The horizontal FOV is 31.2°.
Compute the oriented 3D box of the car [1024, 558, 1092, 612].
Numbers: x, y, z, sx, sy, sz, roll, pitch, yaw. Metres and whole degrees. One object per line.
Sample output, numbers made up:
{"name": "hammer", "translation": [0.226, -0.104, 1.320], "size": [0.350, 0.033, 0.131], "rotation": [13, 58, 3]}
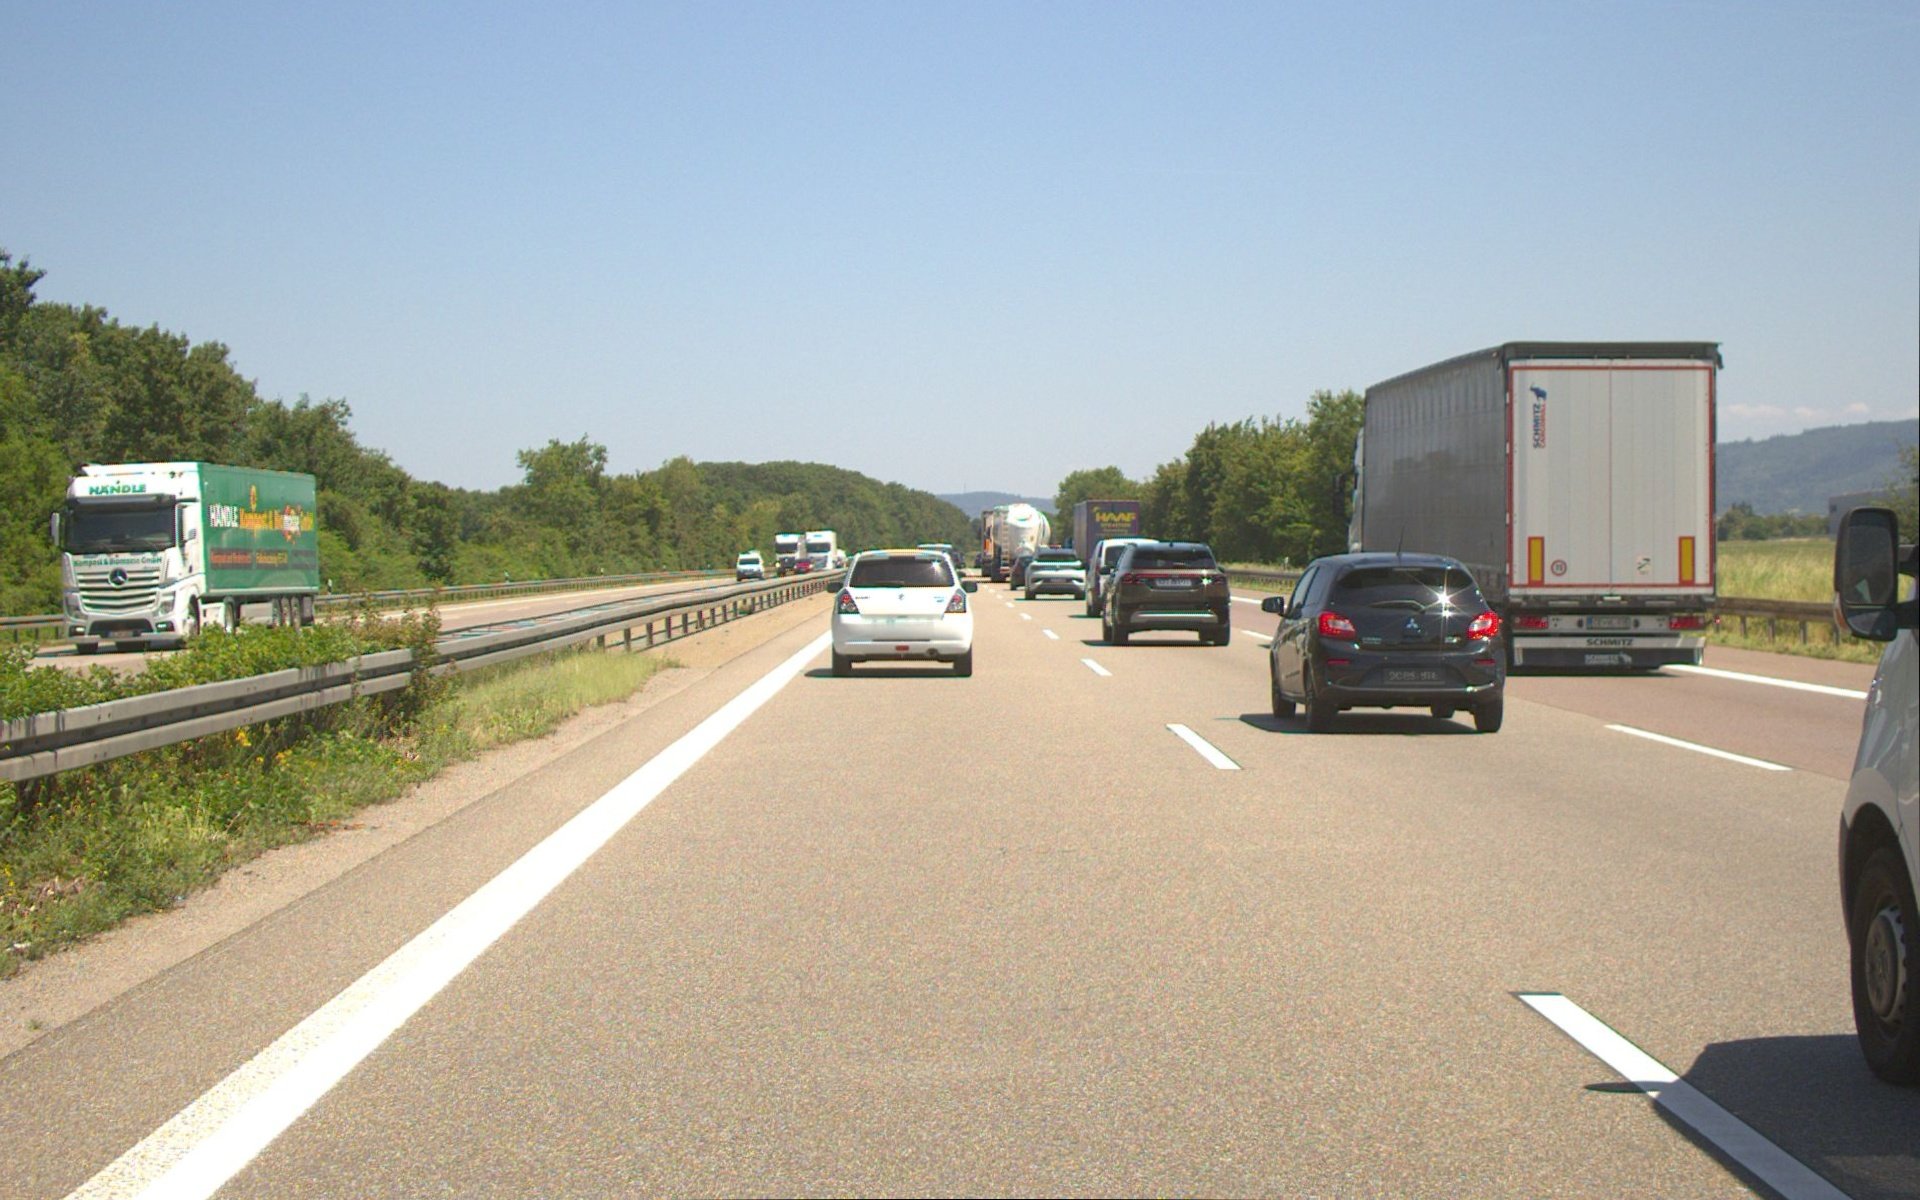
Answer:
{"name": "car", "translation": [3.081, -0.488, 108.800], "size": [1.857, 1.646, 4.000], "rotation": [0, 1, -2]}

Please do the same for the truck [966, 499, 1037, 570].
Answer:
{"name": "truck", "translation": [2.476, -4.046, 213.793], "size": [3.257, 4.194, 16.846], "rotation": [1, 1, -3]}

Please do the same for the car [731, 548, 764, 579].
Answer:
{"name": "car", "translation": [-14.416, -2.486, 233.311], "size": [1.993, 2.007, 4.000], "rotation": [-2, 1, -1]}

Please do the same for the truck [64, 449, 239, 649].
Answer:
{"name": "truck", "translation": [-17.245, -1.100, 73.647], "size": [2.417, 4.079, 5.881], "rotation": [0, 1, -1]}

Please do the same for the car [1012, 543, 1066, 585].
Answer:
{"name": "car", "translation": [3.113, -1.436, 136.096], "size": [1.857, 1.646, 4.000], "rotation": [0, 1, -2]}

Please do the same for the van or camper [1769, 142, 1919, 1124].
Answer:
{"name": "van or camper", "translation": [3.599, 0.111, 7.769], "size": [2.058, 2.613, 5.985], "rotation": [0, 1, -1]}

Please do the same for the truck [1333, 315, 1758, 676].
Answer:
{"name": "truck", "translation": [7.841, -1.365, 49.101], "size": [3.079, 4.194, 16.844], "rotation": [1, 1, 0]}

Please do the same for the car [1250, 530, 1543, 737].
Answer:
{"name": "car", "translation": [3.671, 0.237, 29.553], "size": [1.857, 1.646, 4.000], "rotation": [0, 1, -2]}

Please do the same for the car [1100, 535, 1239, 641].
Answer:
{"name": "car", "translation": [3.357, -0.222, 55.810], "size": [1.857, 1.646, 4.000], "rotation": [0, 1, -2]}

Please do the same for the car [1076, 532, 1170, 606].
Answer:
{"name": "car", "translation": [3.759, -0.734, 79.889], "size": [1.857, 1.646, 4.000], "rotation": [0, 1, -2]}

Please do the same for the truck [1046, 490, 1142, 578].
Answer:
{"name": "truck", "translation": [6.693, -3.339, 174.432], "size": [3.257, 4.194, 16.846], "rotation": [1, 1, -3]}

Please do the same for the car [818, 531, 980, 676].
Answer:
{"name": "car", "translation": [-0.788, 0.009, 42.092], "size": [1.857, 1.646, 4.000], "rotation": [1, 1, -2]}

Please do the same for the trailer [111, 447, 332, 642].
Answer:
{"name": "trailer", "translation": [-17.349, -1.336, 81.787], "size": [2.446, 4.214, 13.637], "rotation": [0, 1, -1]}

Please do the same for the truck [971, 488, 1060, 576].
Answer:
{"name": "truck", "translation": [2.715, -3.423, 174.091], "size": [3.257, 4.194, 16.846], "rotation": [1, 1, -3]}
